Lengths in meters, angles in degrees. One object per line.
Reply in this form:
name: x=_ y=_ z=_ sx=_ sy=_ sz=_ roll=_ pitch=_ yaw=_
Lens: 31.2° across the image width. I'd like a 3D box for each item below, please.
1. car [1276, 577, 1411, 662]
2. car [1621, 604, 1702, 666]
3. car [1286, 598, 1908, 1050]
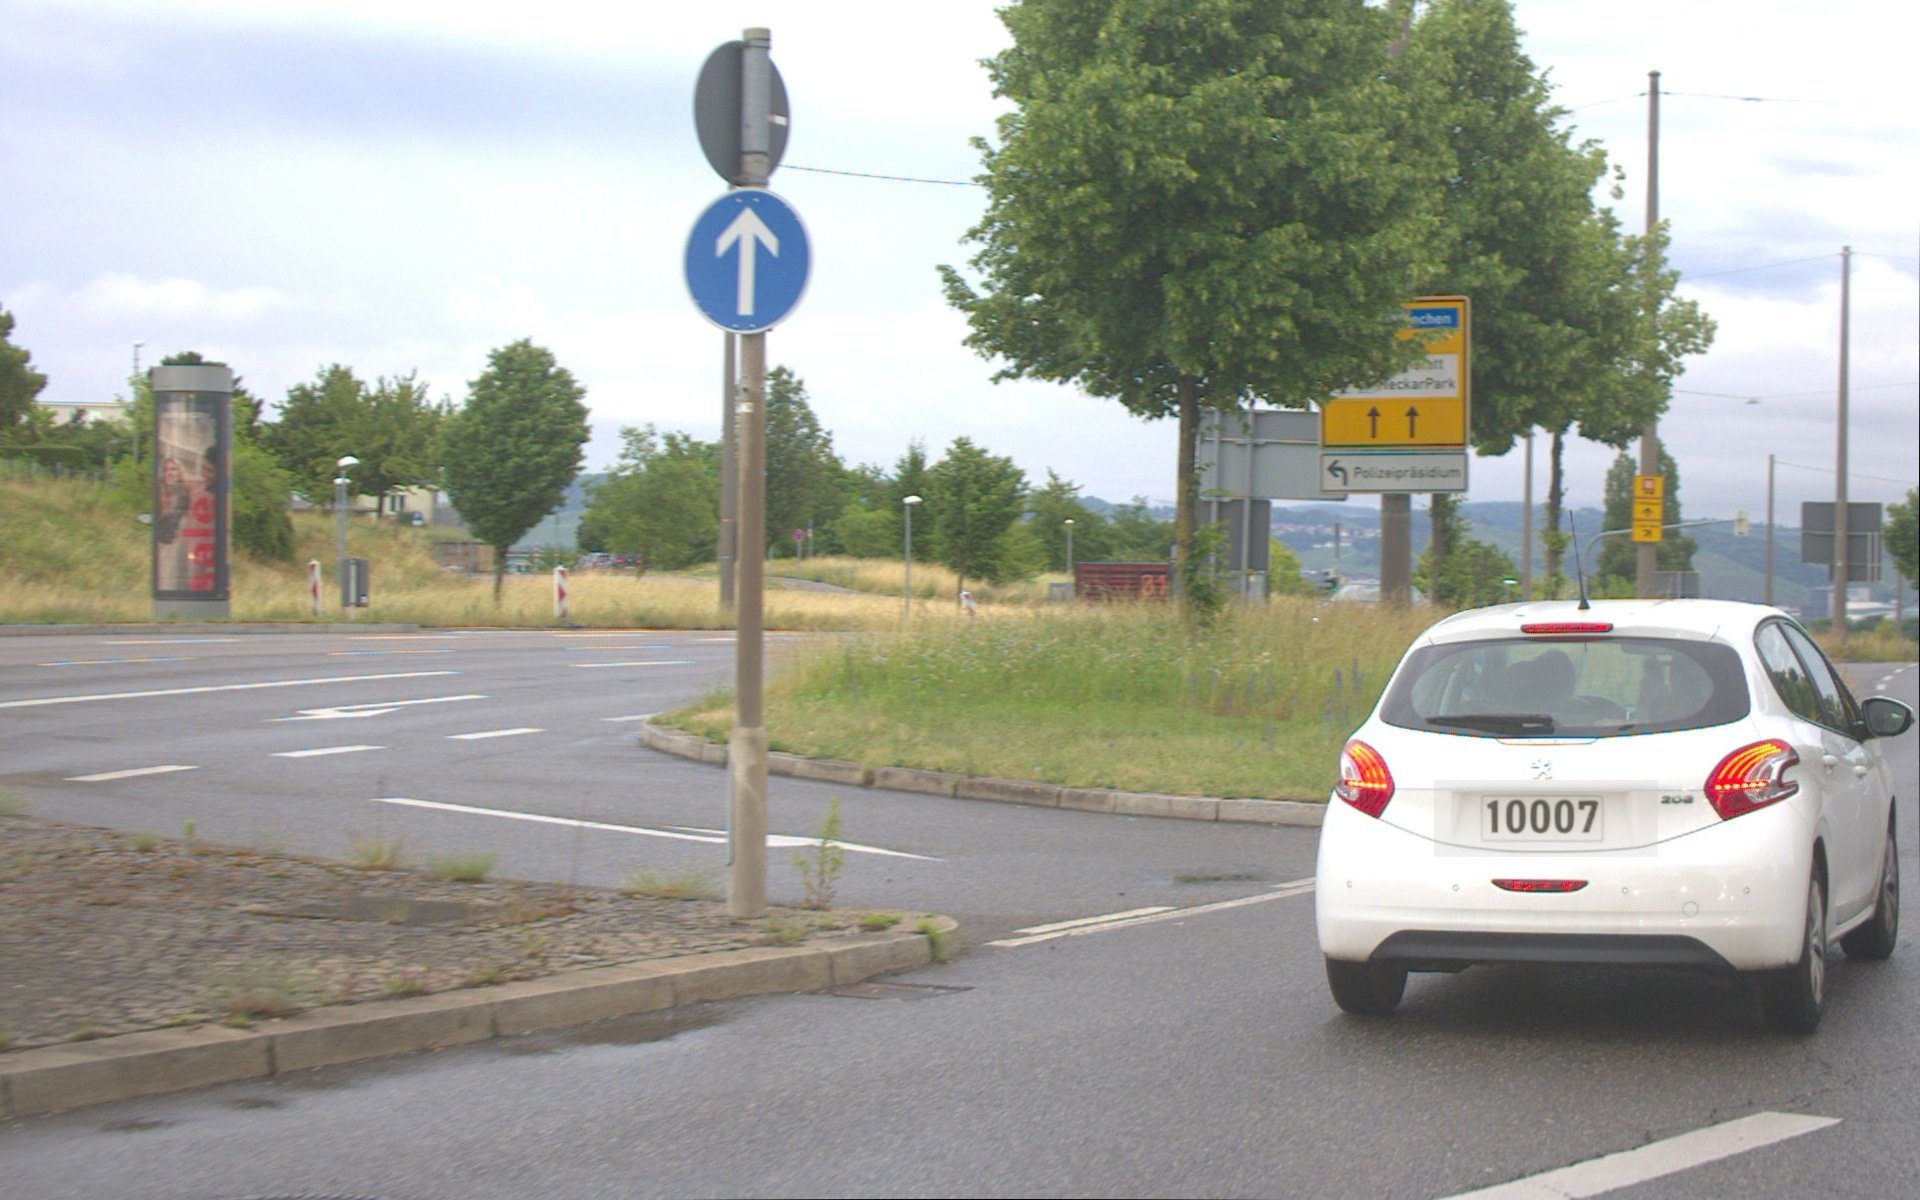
car: x=7.896 y=0.375 z=70.522 sx=1.880 sy=1.648 sz=4.353 roll=1 pitch=1 yaw=18
car: x=20.789 y=1.014 z=101.778 sx=1.769 sy=1.744 sz=3.996 roll=1 pitch=1 yaw=19
car: x=2.526 y=0.724 z=12.940 sx=1.710 sy=1.435 sz=3.686 roll=-1 pitch=0 yaw=20
